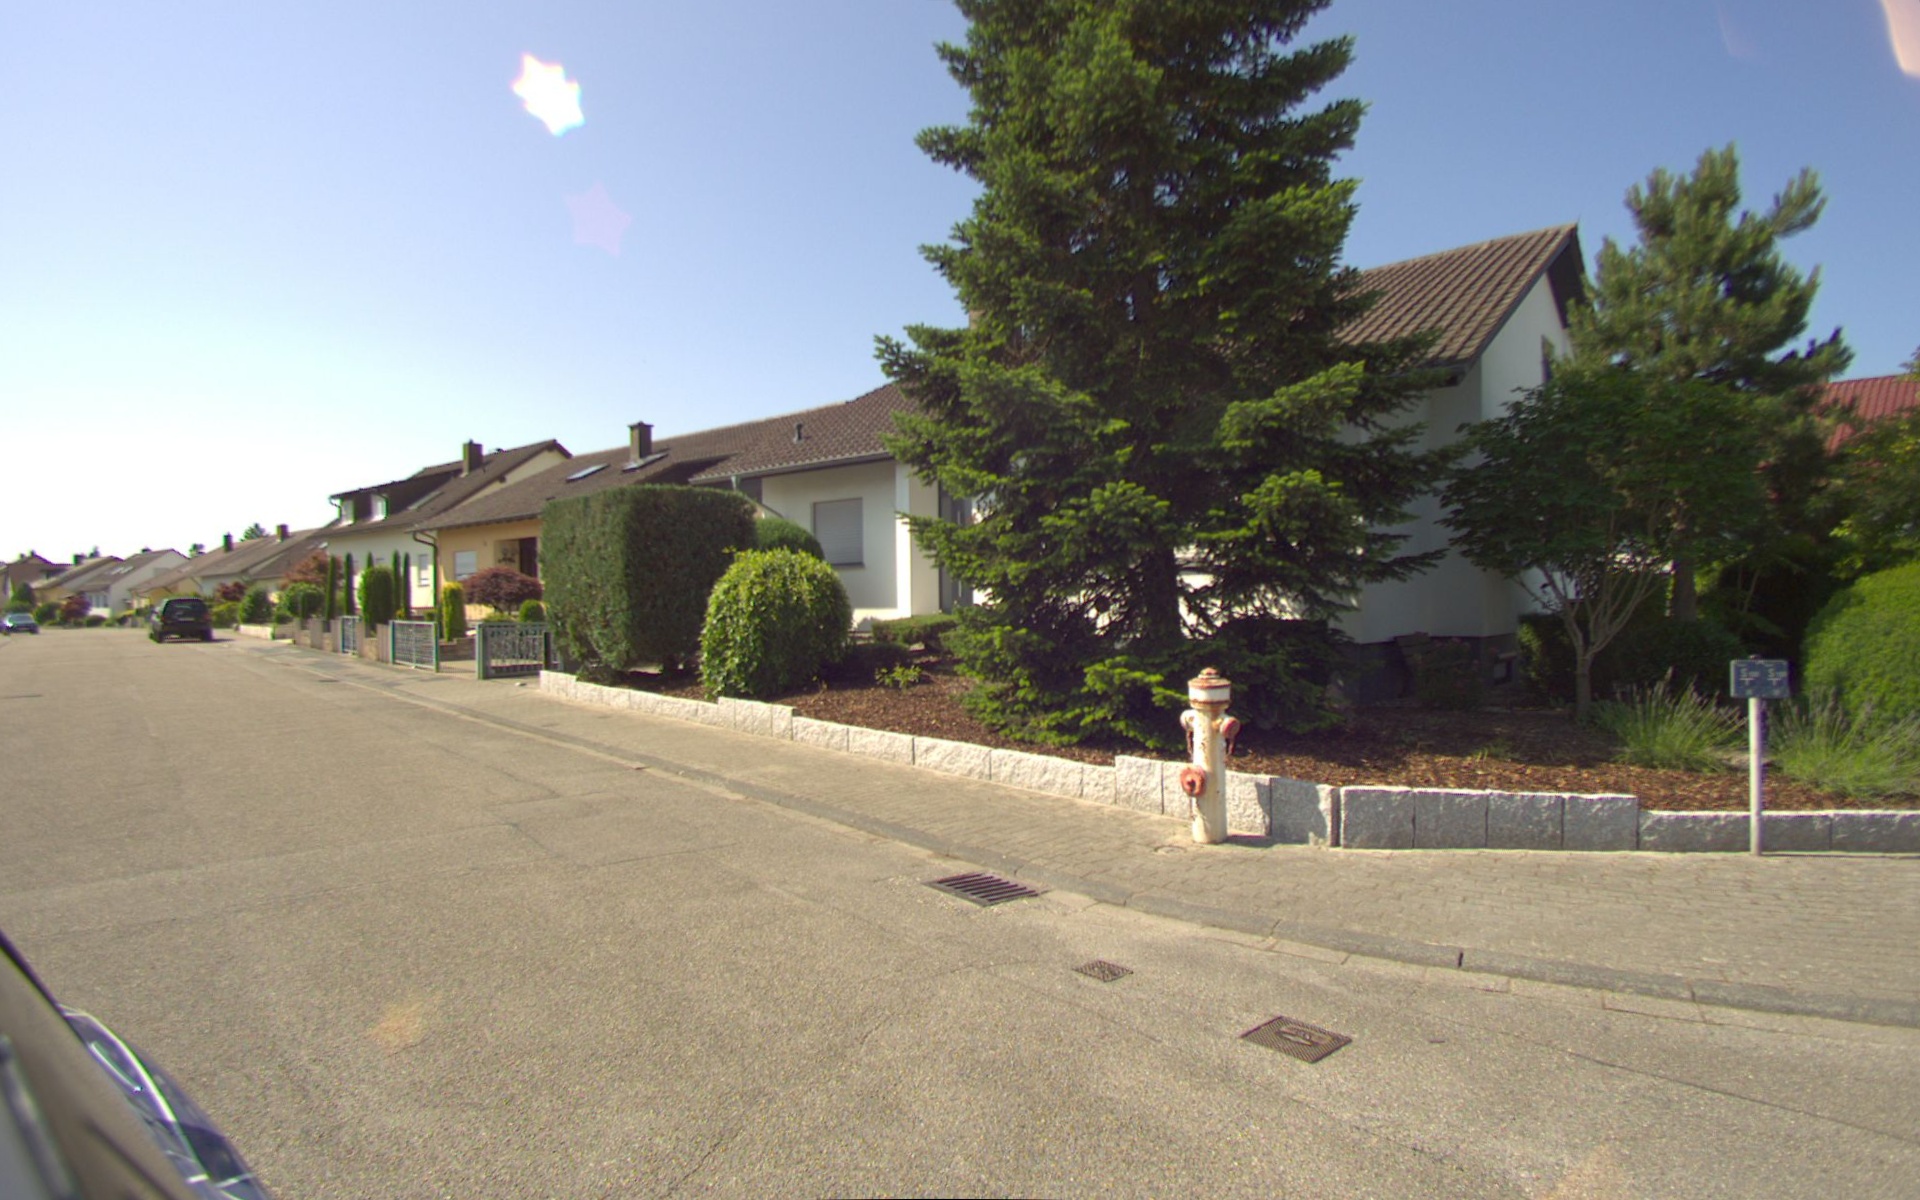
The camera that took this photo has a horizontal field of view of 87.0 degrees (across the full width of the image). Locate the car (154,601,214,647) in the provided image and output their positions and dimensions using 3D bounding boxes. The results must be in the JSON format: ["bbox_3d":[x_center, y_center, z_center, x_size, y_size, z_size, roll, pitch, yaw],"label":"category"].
[{"bbox_3d":[-32.071,0.962,41.787,1.743,1.791,3.658,-1,0,-41],"label":"car"}]

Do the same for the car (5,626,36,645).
[{"bbox_3d":[-66.193,2.483,71.307,3.104,1.287,1.439,-1,-1,44],"label":"car"}]
